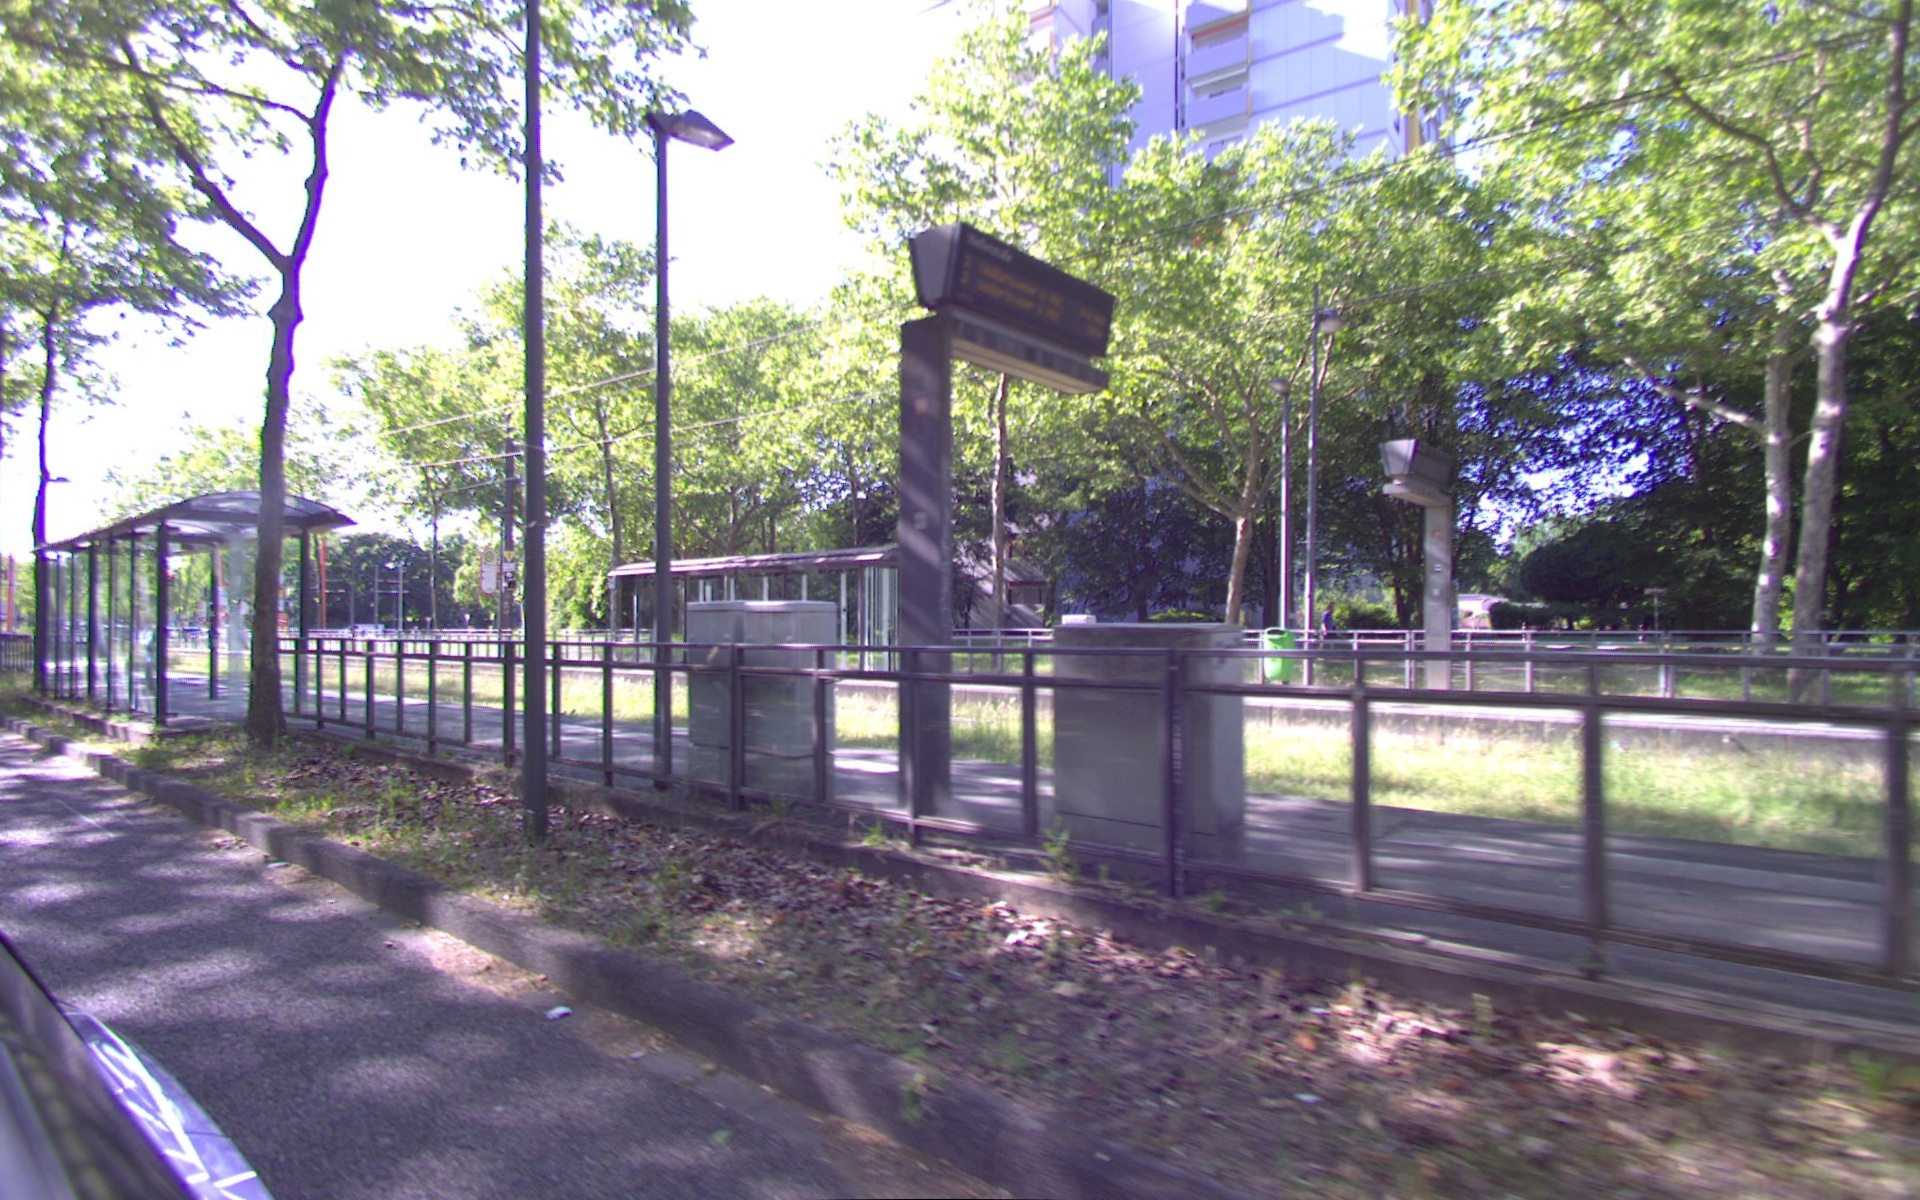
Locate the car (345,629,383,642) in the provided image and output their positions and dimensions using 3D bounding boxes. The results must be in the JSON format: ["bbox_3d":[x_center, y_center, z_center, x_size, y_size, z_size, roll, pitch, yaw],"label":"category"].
[{"bbox_3d":[-74.536,4.442,126.552,3.930,1.522,1.806,0,-2,-23],"label":"car"}]

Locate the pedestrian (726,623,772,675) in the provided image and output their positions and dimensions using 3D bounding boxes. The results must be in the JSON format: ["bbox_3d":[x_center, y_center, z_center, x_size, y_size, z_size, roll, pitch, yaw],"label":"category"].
[{"bbox_3d":[-4.922,1.134,23.632,0.762,1.192,0.758,-2,-3,41],"label":"pedestrian"}]

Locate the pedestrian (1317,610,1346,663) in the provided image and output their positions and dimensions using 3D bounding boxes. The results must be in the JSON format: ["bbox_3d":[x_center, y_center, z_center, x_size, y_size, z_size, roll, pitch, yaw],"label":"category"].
[{"bbox_3d":[11.994,1.164,32.676,0.650,1.674,0.641,-2,-2,41],"label":"pedestrian"}]
